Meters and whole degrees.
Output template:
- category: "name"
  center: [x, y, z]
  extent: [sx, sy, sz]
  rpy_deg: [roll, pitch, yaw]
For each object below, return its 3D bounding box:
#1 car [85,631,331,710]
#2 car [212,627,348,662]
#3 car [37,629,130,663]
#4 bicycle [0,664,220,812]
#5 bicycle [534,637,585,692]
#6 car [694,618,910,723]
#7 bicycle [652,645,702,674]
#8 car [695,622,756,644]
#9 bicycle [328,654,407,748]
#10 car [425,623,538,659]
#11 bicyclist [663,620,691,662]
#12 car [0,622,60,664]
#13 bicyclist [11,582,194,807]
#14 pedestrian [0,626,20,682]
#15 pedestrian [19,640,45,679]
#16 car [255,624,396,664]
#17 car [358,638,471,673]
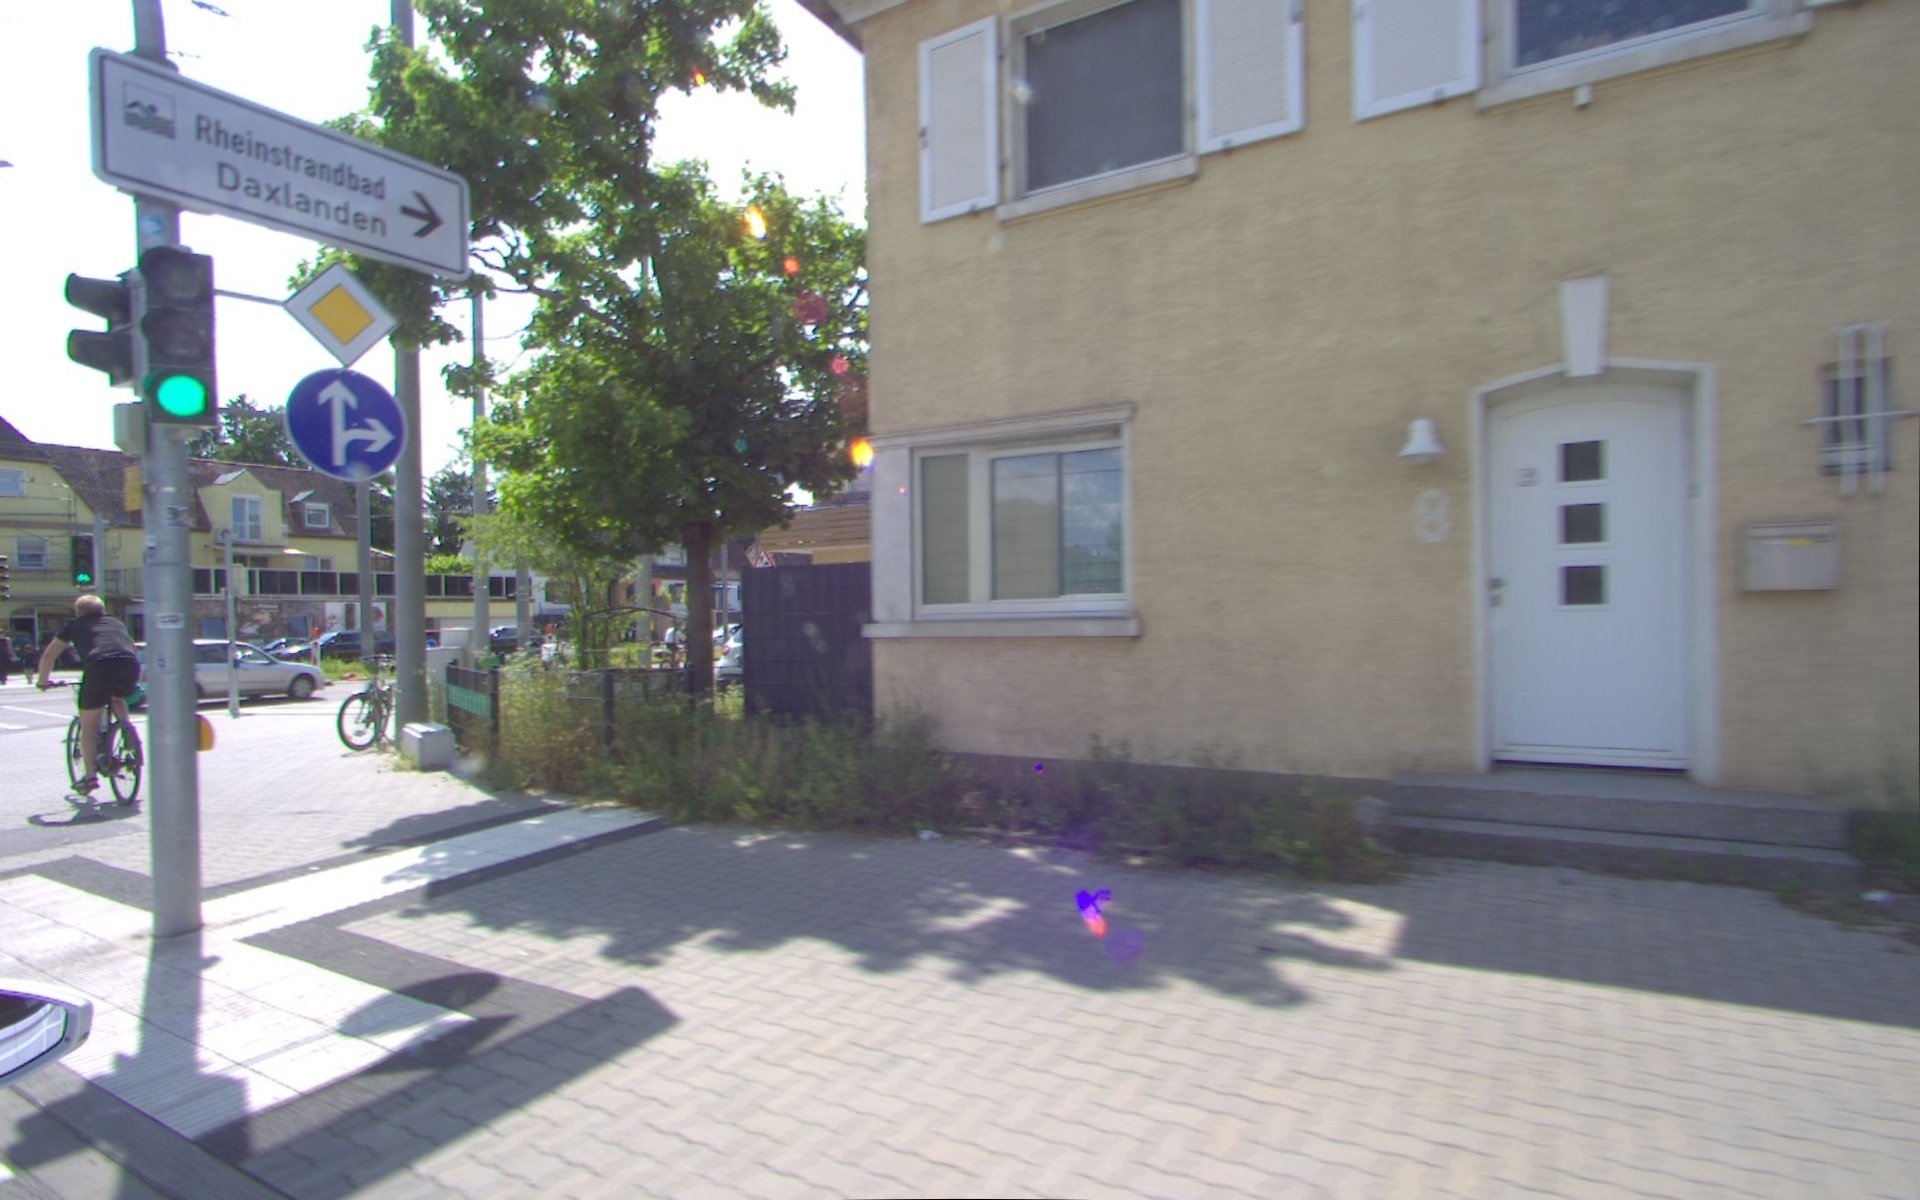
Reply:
- category: "car"
  center: [-16.359, 1.462, 22.022]
  extent: [1.706, 1.422, 4.006]
  rpy_deg: [3, 0, 22]
- category: "car"
  center: [-27.616, 1.815, 40.814]
  extent: [1.713, 1.324, 4.313]
  rpy_deg: [-2, -3, 28]
- category: "car"
  center: [-36.808, 1.938, 42.027]
  extent: [4.073, 1.368, 1.865]
  rpy_deg: [-2, -3, 32]
- category: "bicycle"
  center: [-7.464, 1.146, 8.743]
  extent: [1.940, 1.090, 0.827]
  rpy_deg: [-1, 1, 28]
- category: "bicycle"
  center: [-8.639, 1.377, 21.634]
  extent: [0.374, 1.152, 1.575]
  rpy_deg: [-1, -2, 4]
- category: "car"
  center: [-2.620, 1.128, 17.646]
  extent: [1.771, 1.617, 4.106]
  rpy_deg: [-1, -1, 25]
- category: "bicycle"
  center: [-8.388, 1.751, 29.761]
  extent: [0.497, 0.791, 1.578]
  rpy_deg: [-1, -1, 27]
- category: "car"
  center: [-16.300, 2.315, 69.791]
  extent: [1.713, 1.492, 4.313]
  rpy_deg: [-2, -3, 28]
- category: "bicycle"
  center: [-7.165, 1.185, 12.175]
  extent: [0.455, 1.031, 1.753]
  rpy_deg: [0, -2, -18]
- category: "car"
  center: [-21.147, 1.793, 44.411]
  extent: [1.713, 1.346, 4.310]
  rpy_deg: [-2, 0, 28]
- category: "bicyclist"
  center: [-8.406, 1.213, 29.740]
  extent: [0.501, 1.250, 0.576]
  rpy_deg: [-1, 0, 27]
- category: "car"
  center: [-38.098, 1.747, 40.126]
  extent: [4.073, 1.616, 1.990]
  rpy_deg: [-2, -3, 32]
- category: "bicyclist"
  center: [-7.425, 0.763, 8.687]
  extent: [1.067, 1.818, 0.827]
  rpy_deg: [0, 1, 28]
- category: "pedestrian"
  center: [-28.440, 1.603, 29.854]
  extent: [0.396, 1.664, 0.545]
  rpy_deg: [-2, -2, 36]
- category: "pedestrian"
  center: [-28.073, 1.801, 30.295]
  extent: [0.383, 1.150, 0.487]
  rpy_deg: [-2, -2, 32]
- category: "car"
  center: [-24.394, 1.661, 38.681]
  extent: [1.713, 1.346, 4.310]
  rpy_deg: [-2, 0, 28]
- category: "car"
  center: [-24.912, 2.511, 45.887]
  extent: [1.713, 1.492, 4.313]
  rpy_deg: [-2, -3, 28]
